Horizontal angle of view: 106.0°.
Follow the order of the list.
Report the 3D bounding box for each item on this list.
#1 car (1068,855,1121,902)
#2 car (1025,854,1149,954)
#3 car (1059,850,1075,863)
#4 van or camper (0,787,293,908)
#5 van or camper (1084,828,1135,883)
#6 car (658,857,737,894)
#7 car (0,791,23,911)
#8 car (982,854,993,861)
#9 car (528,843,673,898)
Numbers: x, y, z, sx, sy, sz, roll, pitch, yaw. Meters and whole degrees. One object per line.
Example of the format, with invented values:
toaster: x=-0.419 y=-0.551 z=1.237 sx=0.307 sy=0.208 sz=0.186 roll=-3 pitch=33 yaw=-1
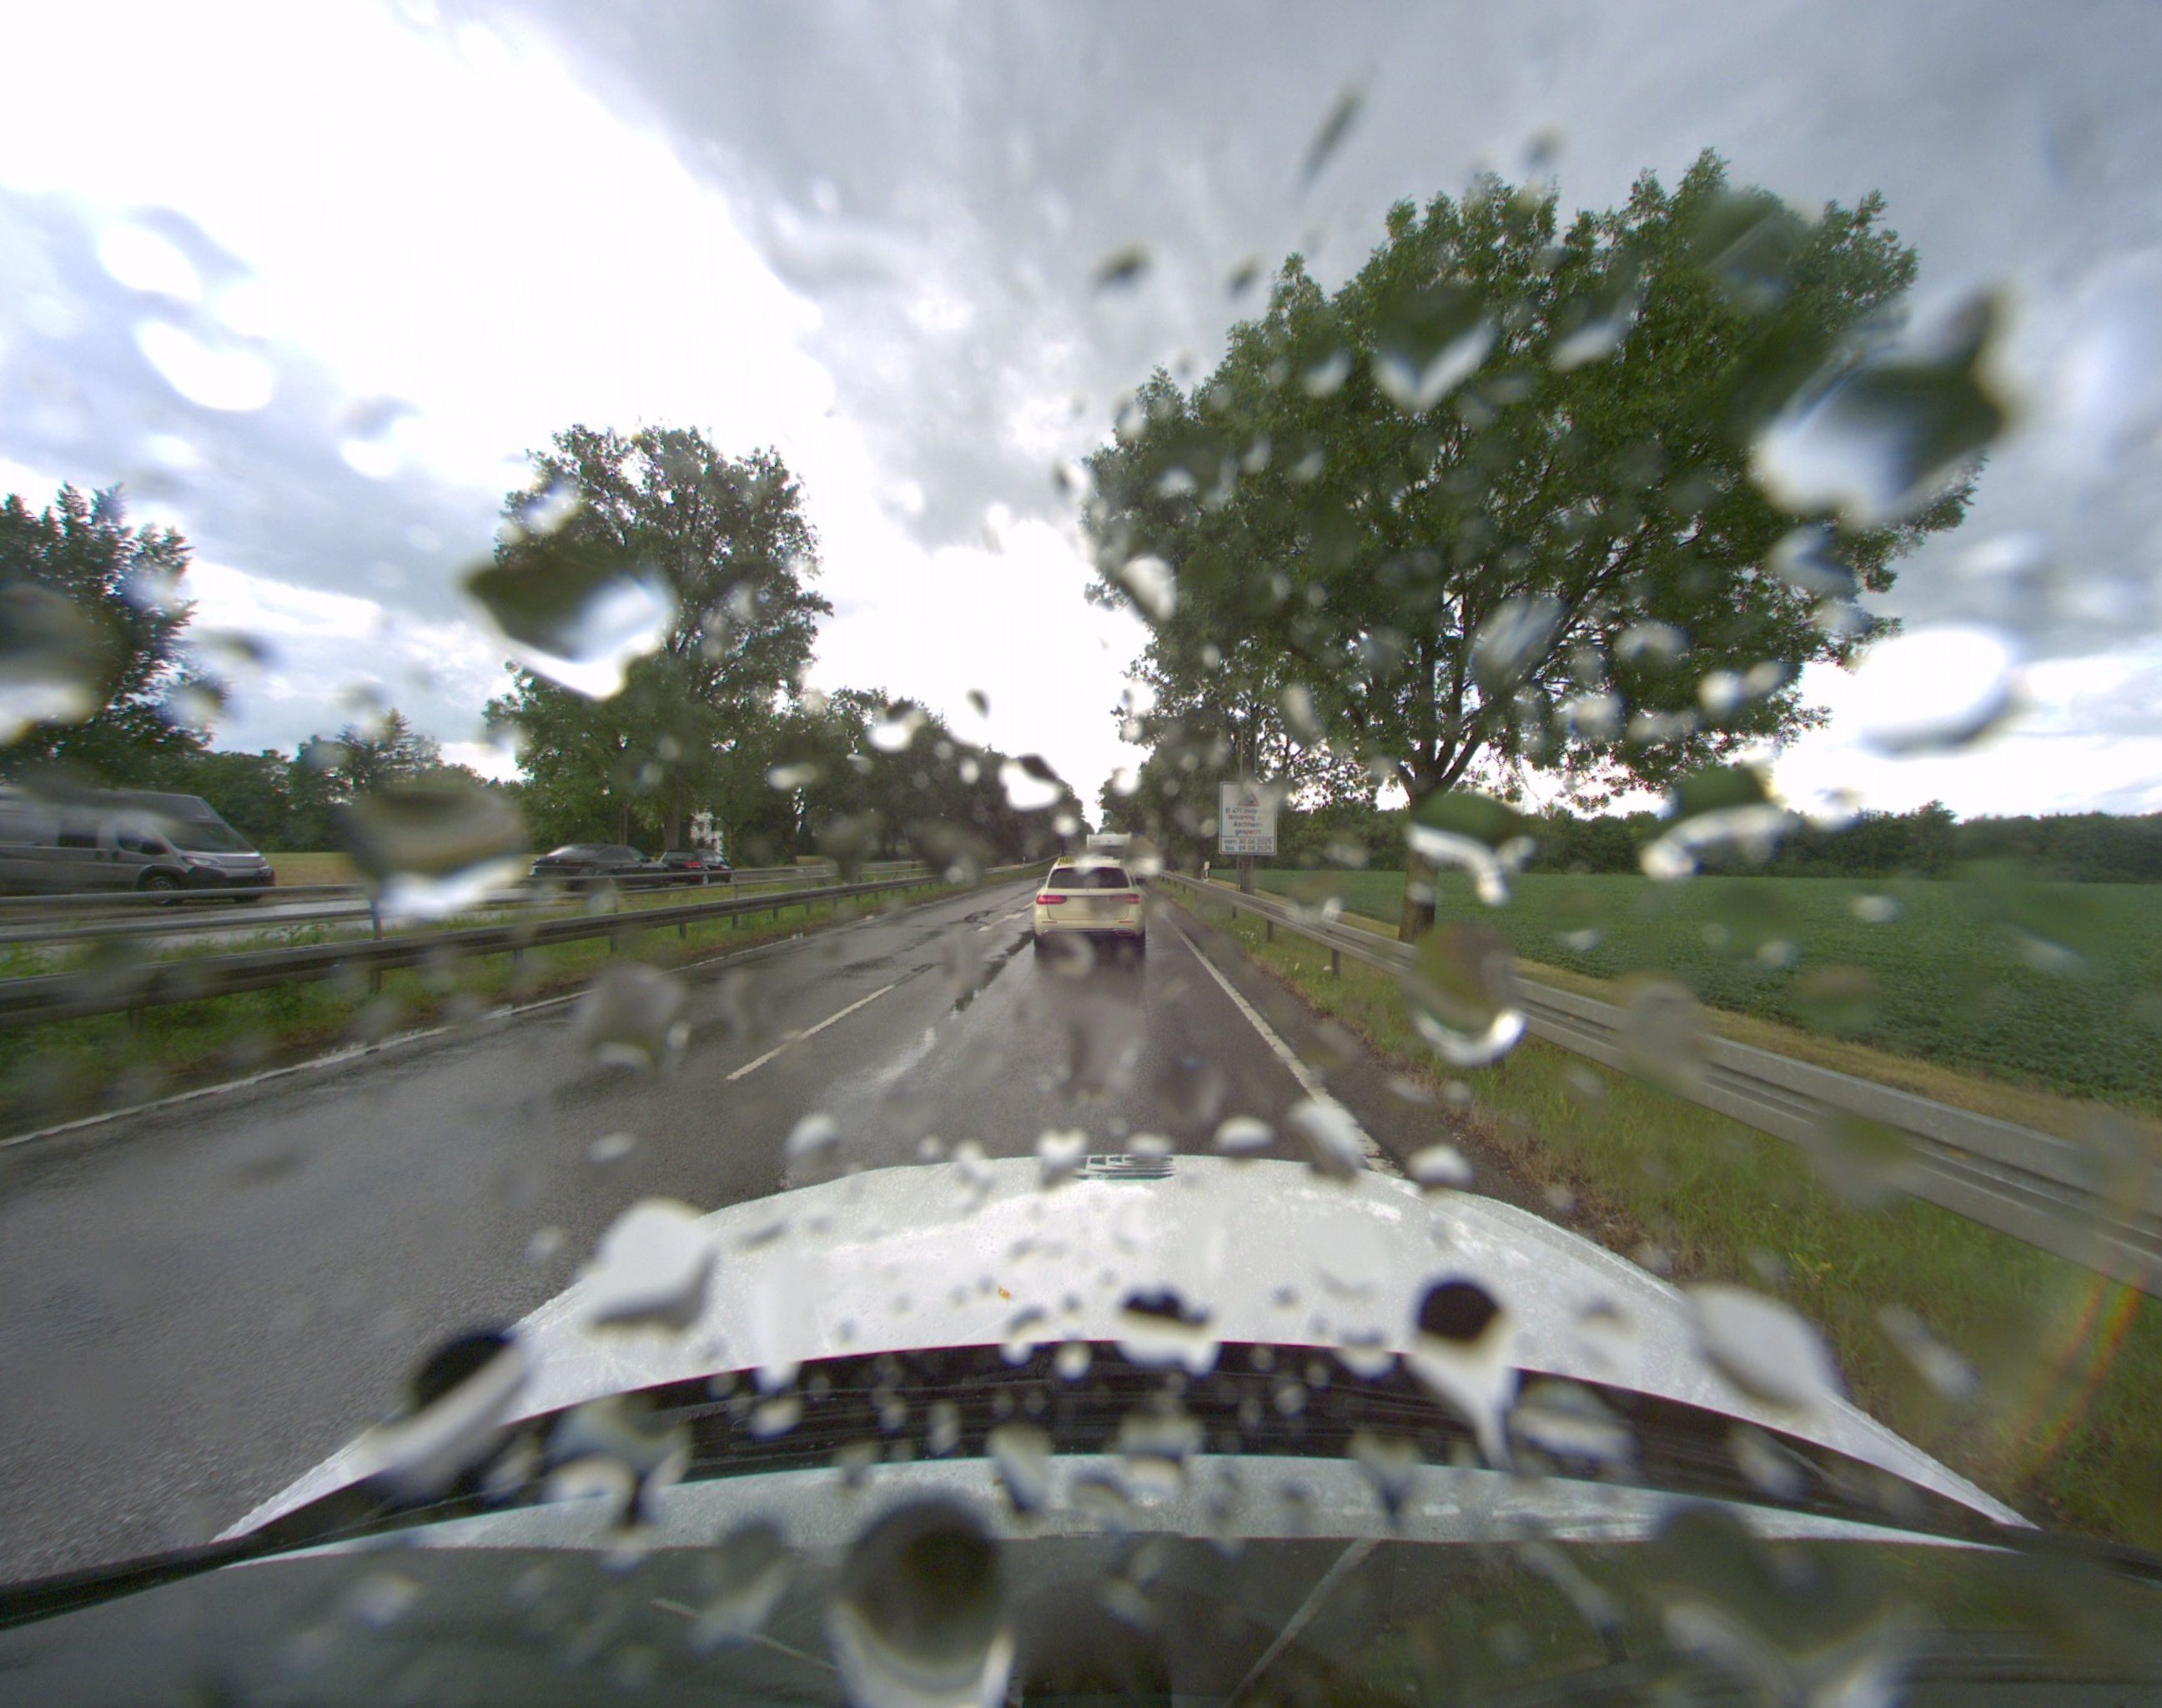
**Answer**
car: x=0.524 y=0.783 z=27.896 sx=1.657 sy=1.430 sz=4.003 roll=-1 pitch=0 yaw=3
car: x=0.196 y=0.755 z=14.327 sx=1.857 sy=1.476 sz=4.003 roll=-1 pitch=0 yaw=3
car: x=-1.720 y=0.310 z=101.774 sx=1.758 sy=1.619 sz=4.001 roll=-1 pitch=0 yaw=1
van or camper: x=-23.088 y=-0.150 z=19.595 sx=5.864 sy=2.677 sz=2.078 roll=1 pitch=0 yaw=-5
van or camper: x=1.572 y=0.071 z=43.061 sx=2.479 sy=2.685 sz=5.705 roll=0 pitch=0 yaw=3
car: x=-14.652 y=0.780 z=31.305 sx=1.279 sy=1.331 sz=3.895 roll=0 pitch=0 yaw=-2
car: x=-24.707 y=-0.103 z=15.984 sx=5.077 sy=2.459 sz=1.999 roll=1 pitch=0 yaw=-1
car: x=-20.399 y=0.738 z=178.289 sx=1.778 sy=1.416 sz=4.003 roll=1 pitch=0 yaw=3
car: x=-14.447 y=0.451 z=24.886 sx=1.511 sy=1.491 sz=5.118 roll=1 pitch=0 yaw=-2
